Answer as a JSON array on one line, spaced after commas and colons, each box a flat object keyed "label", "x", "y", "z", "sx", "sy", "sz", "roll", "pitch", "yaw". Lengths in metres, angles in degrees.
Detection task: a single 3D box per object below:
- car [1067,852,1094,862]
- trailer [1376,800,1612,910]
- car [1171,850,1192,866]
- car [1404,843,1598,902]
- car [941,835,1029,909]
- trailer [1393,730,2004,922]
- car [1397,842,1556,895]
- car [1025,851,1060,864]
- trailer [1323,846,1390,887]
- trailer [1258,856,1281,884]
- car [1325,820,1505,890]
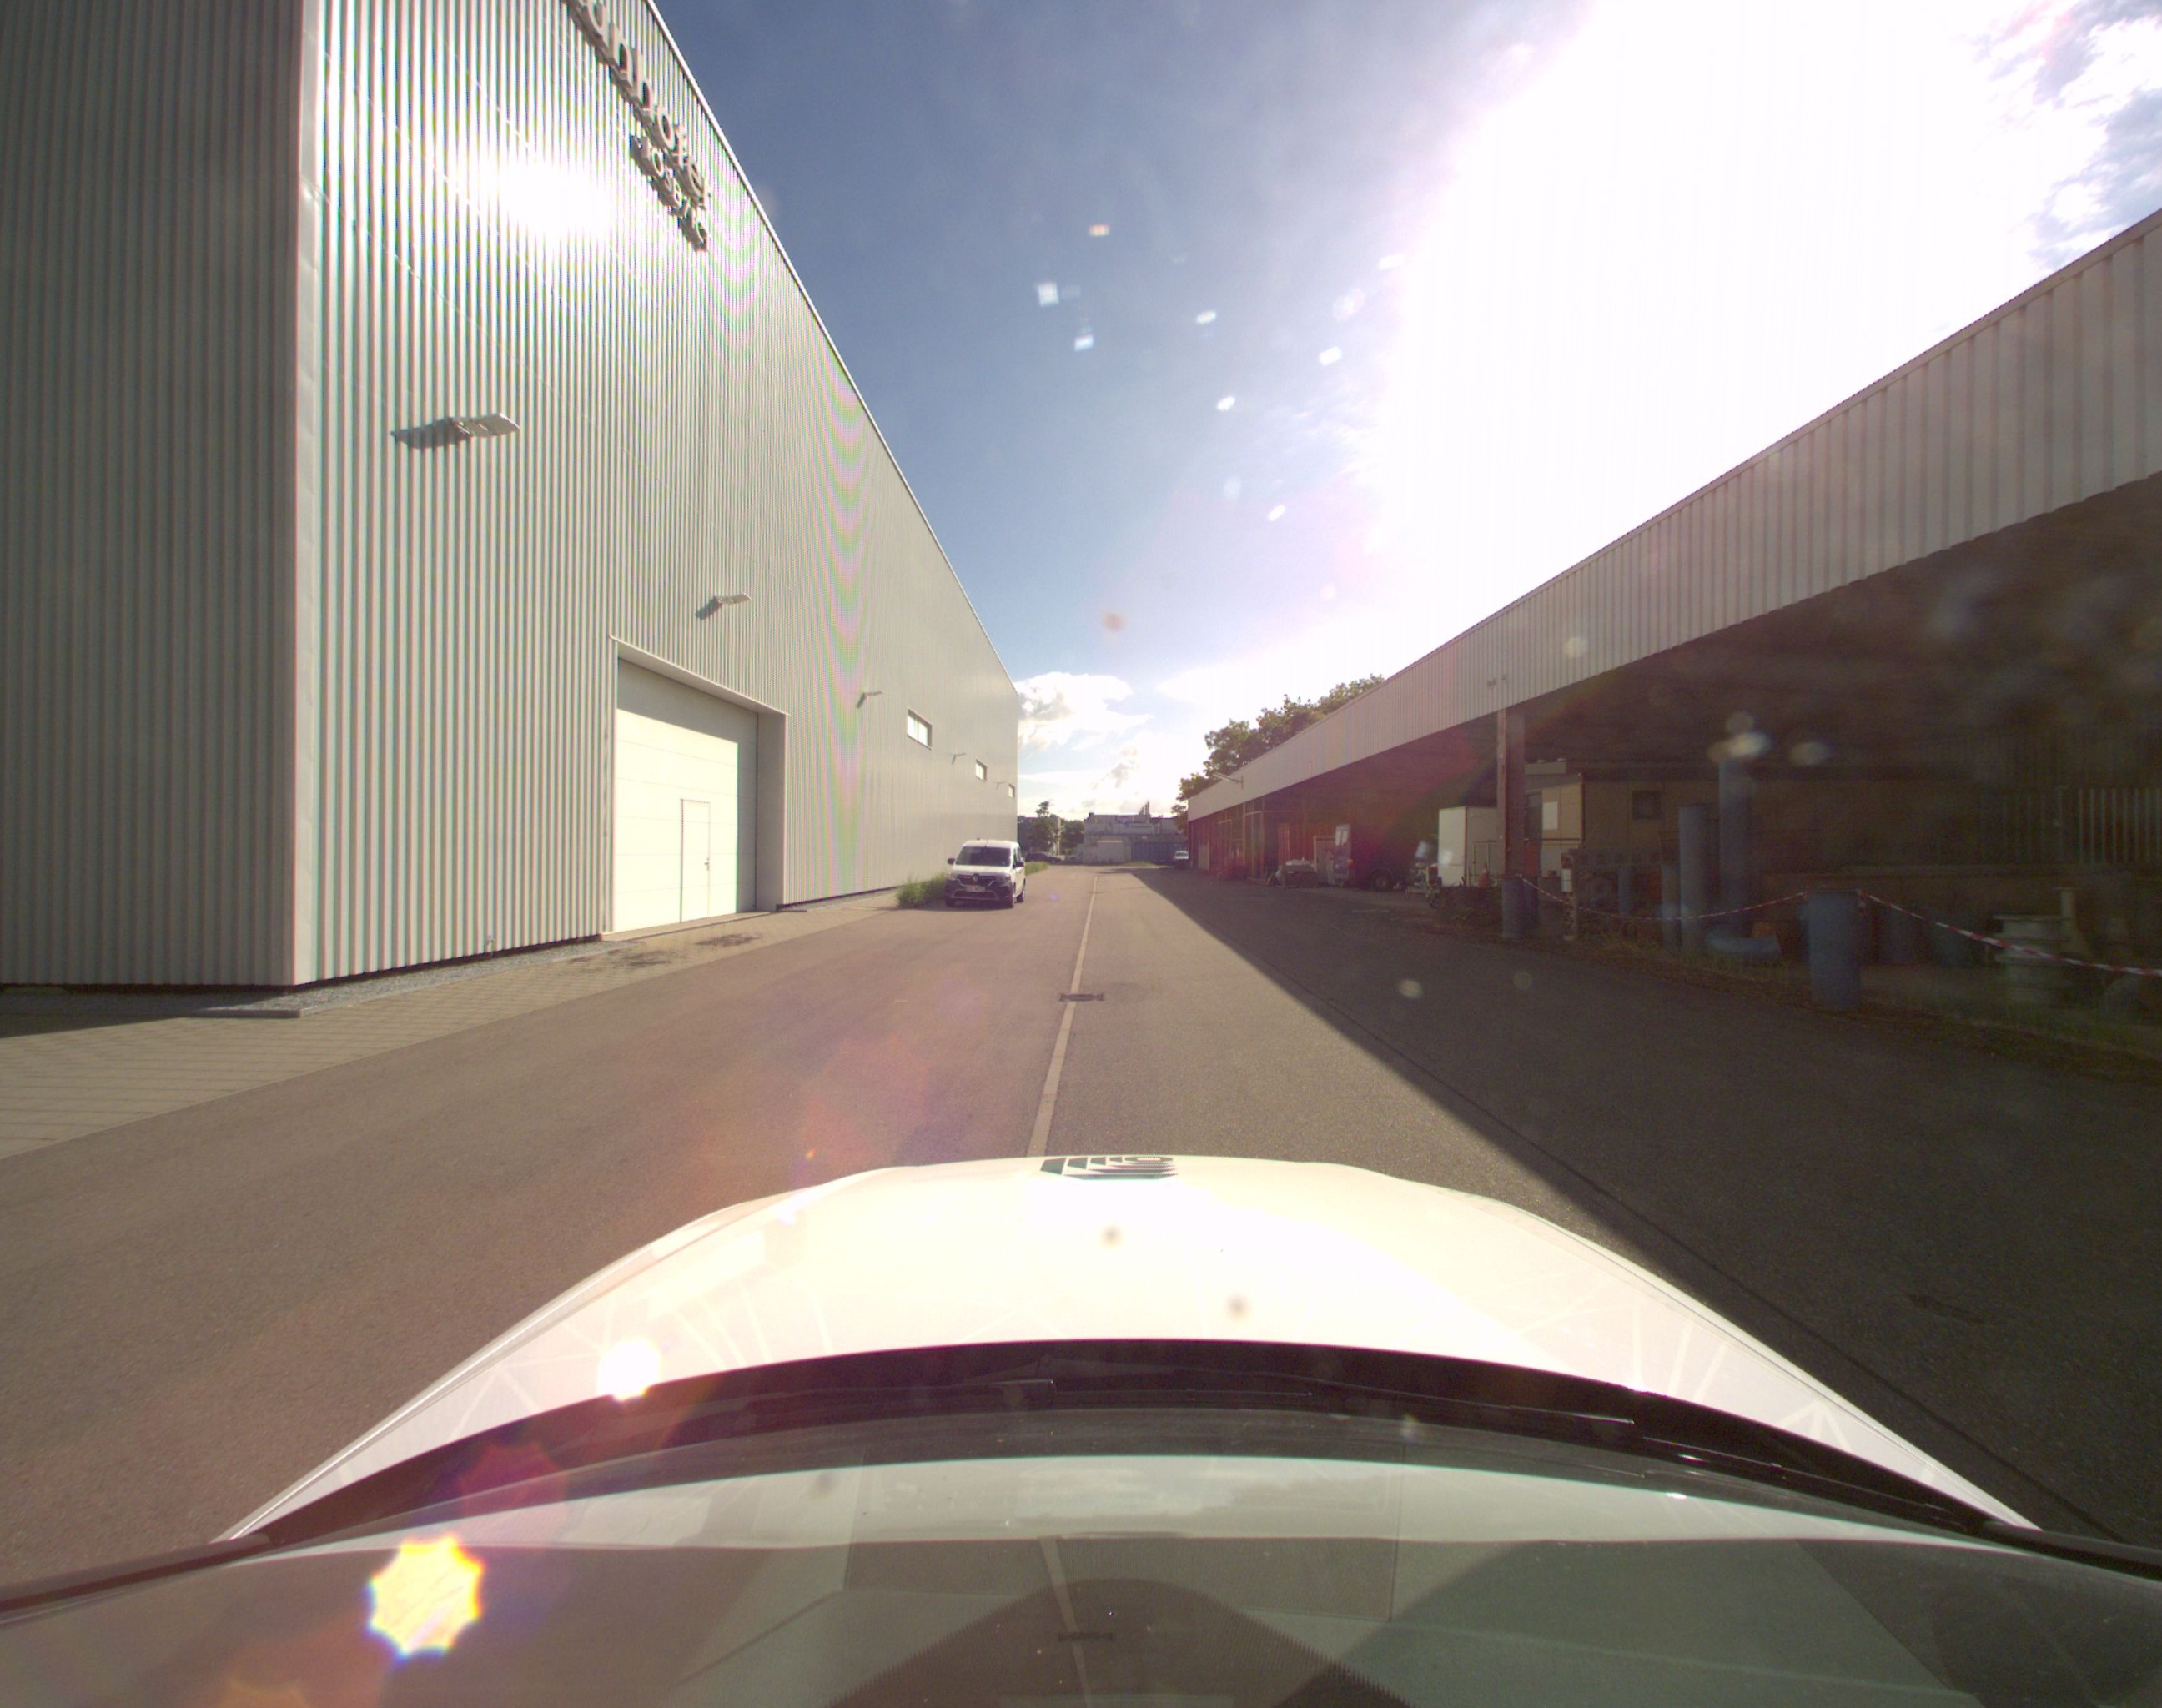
[{"label": "car", "x": -0.015, "y": 0.527, "z": 132.765, "sx": 4.288, "sy": 1.457, "sz": 1.824, "roll": -1, "pitch": -1, "yaw": 0}, {"label": "trailer", "x": 9.554, "y": 0.022, "z": 19.160, "sx": 4.498, "sy": 2.342, "sz": 2.048, "roll": -1, "pitch": -1, "yaw": 2}, {"label": "car", "x": 11.372, "y": 0.452, "z": 92.246, "sx": 1.971, "sy": 1.602, "sz": 4.381, "roll": -1, "pitch": 1, "yaw": 3}, {"label": "car", "x": 11.098, "y": 0.458, "z": 21.695, "sx": 4.237, "sy": 1.471, "sz": 1.868, "roll": 0, "pitch": 0, "yaw": -2}, {"label": "car", "x": -2.564, "y": 0.470, "z": 22.915, "sx": 1.777, "sy": 1.816, "sz": 4.602, "roll": 1, "pitch": 0, "yaw": 1}, {"label": "trailer", "x": 12.045, "y": -0.526, "z": 16.630, "sx": 10.230, "sy": 3.343, "sz": 2.802, "roll": -1, "pitch": 0, "yaw": 1}, {"label": "car", "x": 11.943, "y": 0.434, "z": 24.769, "sx": 3.953, "sy": 1.514, "sz": 1.839, "roll": 0, "pitch": -1, "yaw": -2}, {"label": "car", "x": -4.931, "y": 0.446, "z": 104.927, "sx": 4.432, "sy": 1.531, "sz": 1.824, "roll": -1, "pitch": -1, "yaw": 0}, {"label": "trailer", "x": 10.293, "y": 0.446, "z": 30.561, "sx": 2.028, "sy": 1.466, "sz": 1.741, "roll": -1, "pitch": 0, "yaw": 5}, {"label": "trailer", "x": 7.794, "y": 0.661, "z": 33.704, "sx": 0.550, "sy": 1.118, "sz": 1.546, "roll": -1, "pitch": 0, "yaw": 0}, {"label": "car", "x": 11.341, "y": 0.041, "z": 27.934, "sx": 5.314, "sy": 2.281, "sz": 2.152, "roll": -1, "pitch": -1, "yaw": 0}]
